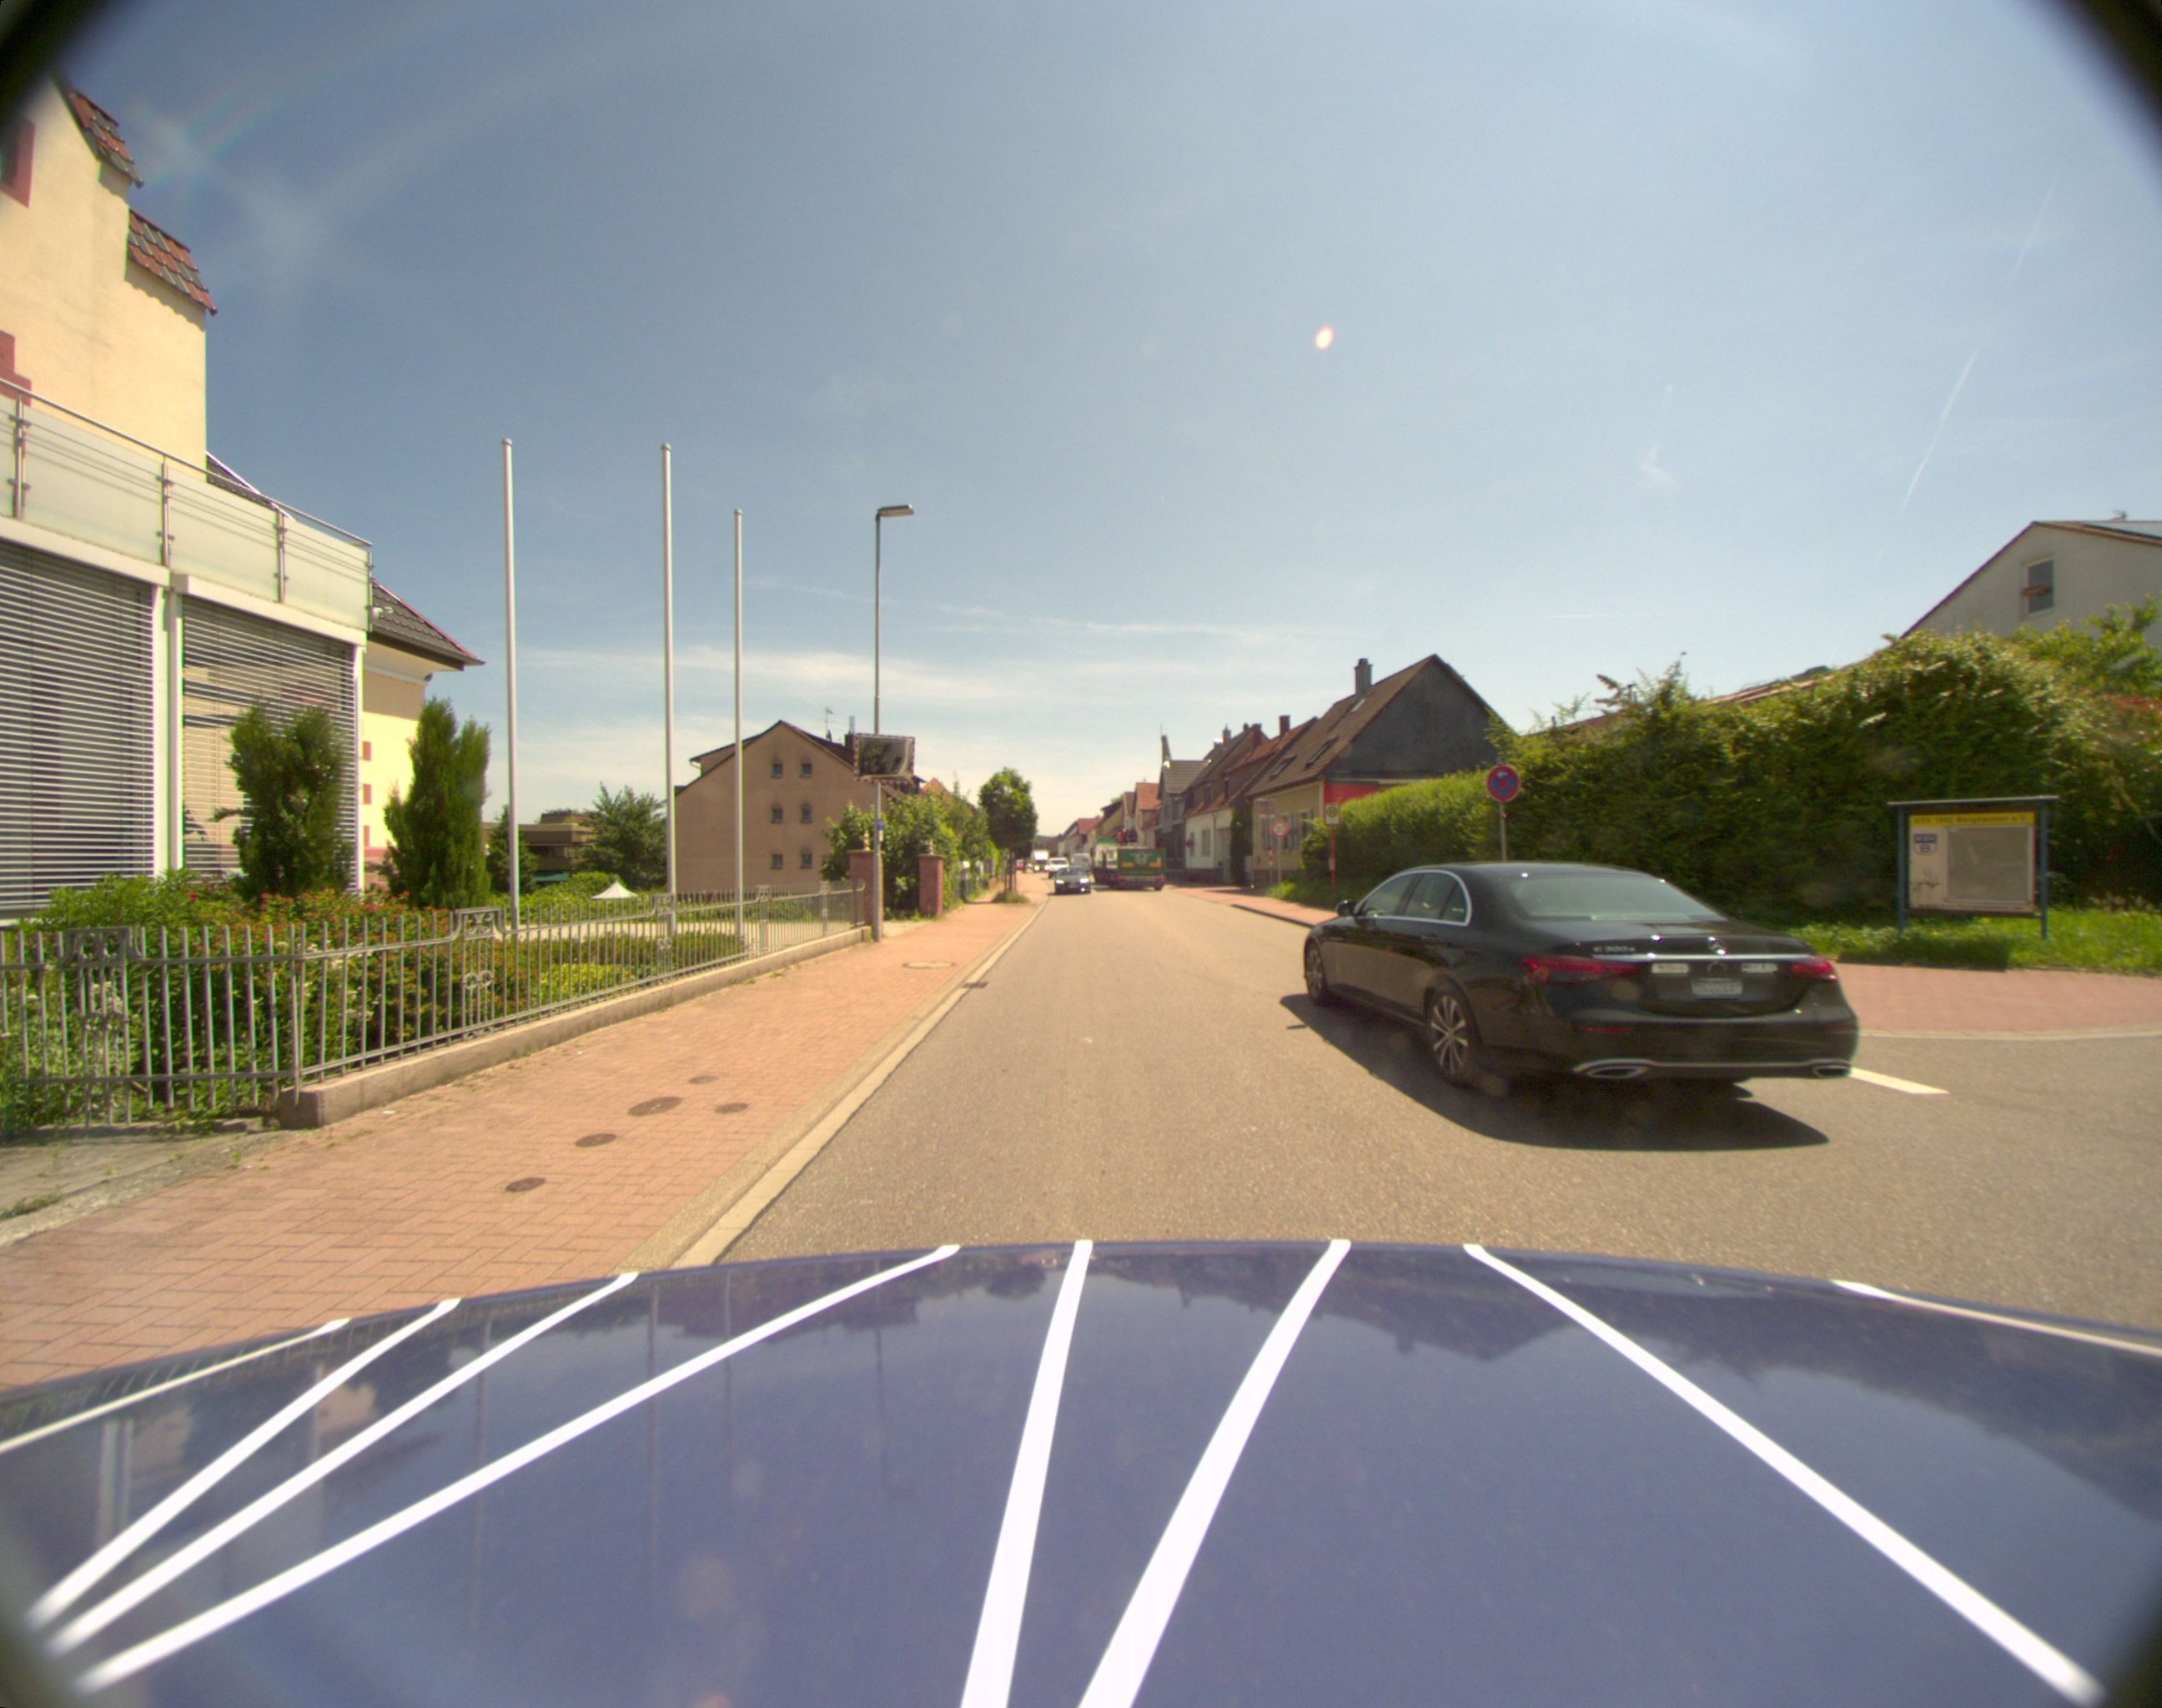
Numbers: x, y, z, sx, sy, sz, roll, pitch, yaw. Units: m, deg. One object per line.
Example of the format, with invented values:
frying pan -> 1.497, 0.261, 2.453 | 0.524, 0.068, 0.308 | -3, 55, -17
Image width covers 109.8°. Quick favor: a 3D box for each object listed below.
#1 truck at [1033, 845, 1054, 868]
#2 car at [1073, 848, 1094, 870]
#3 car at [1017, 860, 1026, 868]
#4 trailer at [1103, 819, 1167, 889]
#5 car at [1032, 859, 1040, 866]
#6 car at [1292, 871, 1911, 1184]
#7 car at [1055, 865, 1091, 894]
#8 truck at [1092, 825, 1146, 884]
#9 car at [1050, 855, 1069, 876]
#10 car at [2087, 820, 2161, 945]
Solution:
truck -> -6.139, 0.381, 122.433 | 2.899, 3.516, 12.949 | -1, 0, -4
car -> 0.275, 0.607, 88.008 | 2.035, 2.446, 6.066 | 0, 0, -3
car -> -11.396, 1.862, 145.648 | 1.637, 1.572, 3.568 | 1, 0, -4
trailer -> 2.948, 0.040, 43.747 | 2.537, 3.627, 8.459 | 0, 0, -4
car -> -9.698, 1.858, 164.168 | 1.508, 1.432, 3.534 | -3, 0, -4
car -> 3.203, 0.900, 6.072 | 1.734, 1.451, 4.694 | 0, 0, 0
car -> -0.444, 1.261, 38.772 | 1.705, 1.346, 3.999 | -2, 0, -2
truck -> 2.478, 0.076, 53.026 | 2.574, 3.678, 10.075 | 0, 0, -4
car -> -2.027, 1.055, 71.007 | 1.637, 1.833, 3.569 | -1, 0, -3
car -> 14.190, 0.329, 8.295 | 1.627, 1.531, 3.653 | -4, 0, 4
